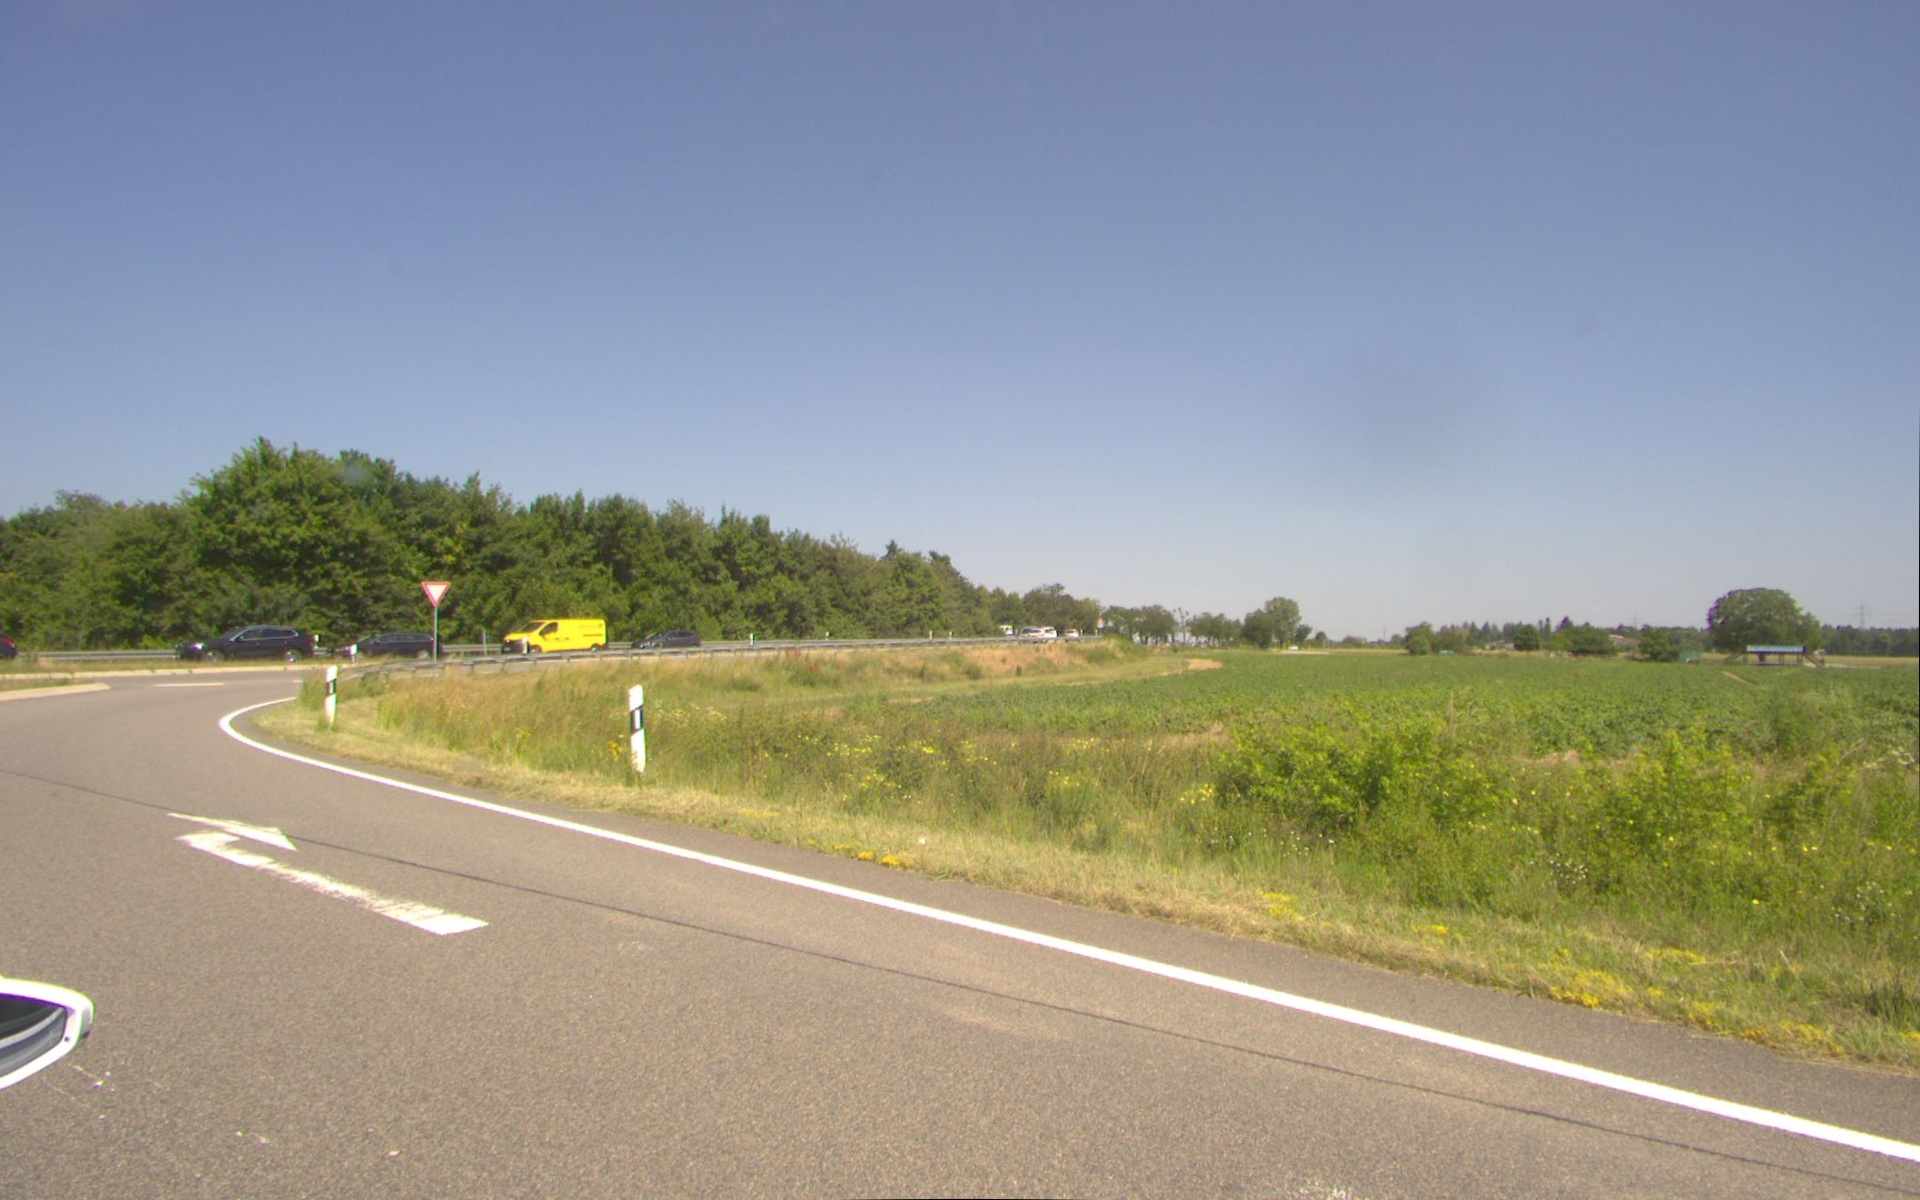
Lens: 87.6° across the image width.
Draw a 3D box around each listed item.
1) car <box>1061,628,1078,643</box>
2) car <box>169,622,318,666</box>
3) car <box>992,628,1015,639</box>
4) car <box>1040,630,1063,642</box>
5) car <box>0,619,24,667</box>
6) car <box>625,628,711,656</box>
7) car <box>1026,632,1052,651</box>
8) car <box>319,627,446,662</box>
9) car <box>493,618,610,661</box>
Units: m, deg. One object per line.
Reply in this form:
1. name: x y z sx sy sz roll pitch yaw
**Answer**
1. car: 12.329 3.994 112.289 1.706 1.587 3.694 -1 -2 9
2. car: -28.156 1.717 39.482 1.744 1.618 4.475 -1 -2 34
3. car: 6.203 4.728 142.158 1.690 1.589 3.988 0 -2 -23
4. car: 11.836 4.674 130.090 1.707 1.587 4.480 0 -2 -13
5. car: -34.399 1.462 33.726 1.818 1.661 3.972 -1 -2 37
6. car: -16.610 2.352 57.156 1.828 1.533 4.671 -1 -2 34
7. car: 7.450 3.897 94.143 1.707 1.587 4.478 -1 0 15
8. car: -26.051 1.981 45.289 1.831 1.533 4.664 -2 -2 39
9. car: -20.597 1.990 50.713 1.972 2.039 5.312 -1 -2 33
